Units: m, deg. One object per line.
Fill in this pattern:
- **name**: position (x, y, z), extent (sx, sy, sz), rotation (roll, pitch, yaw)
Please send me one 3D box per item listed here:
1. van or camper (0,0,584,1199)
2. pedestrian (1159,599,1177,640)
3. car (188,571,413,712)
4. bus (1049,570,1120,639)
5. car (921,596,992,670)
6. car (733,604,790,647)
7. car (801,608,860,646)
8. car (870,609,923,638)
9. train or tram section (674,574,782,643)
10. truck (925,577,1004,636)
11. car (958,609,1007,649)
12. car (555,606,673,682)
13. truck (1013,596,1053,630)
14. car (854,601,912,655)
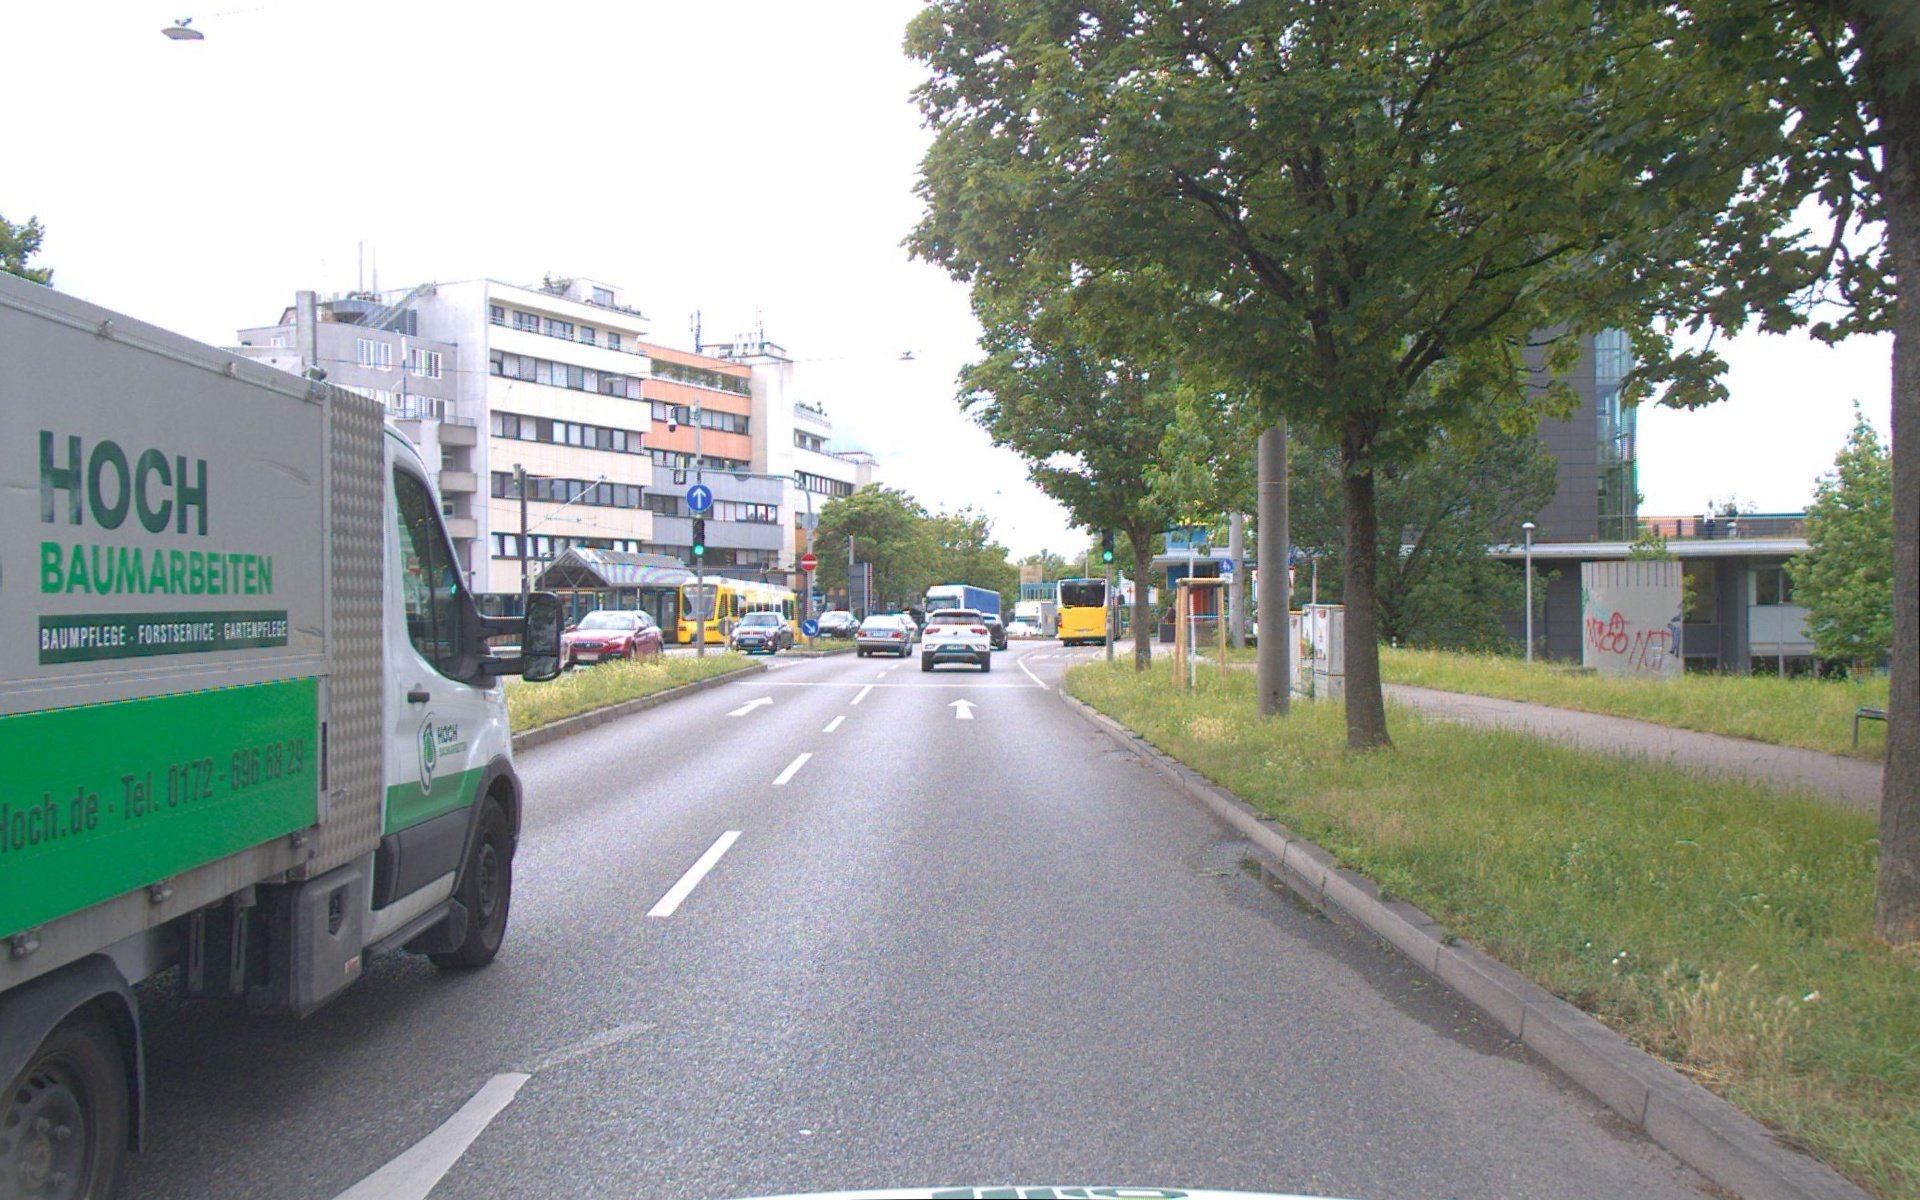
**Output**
- **van or camper**: position (-2.847, 0.214, 4.799), extent (2.296, 2.708, 5.963), rotation (1, 1, -2)
- **pedestrian**: position (9.320, 0.879, 74.213), extent (0.695, 1.847, 0.764), rotation (0, -1, -2)
- **car**: position (-11.224, 0.619, 28.562), extent (1.953, 2.048, 4.835), rotation (1, 2, 0)
- **bus**: position (6.307, 0.214, 82.304), extent (2.891, 3.246, 9.936), rotation (0, 0, 8)
- **car**: position (-0.054, 0.819, 42.937), extent (1.665, 1.575, 3.738), rotation (3, 3, 1)
- **car**: position (-6.934, 0.900, 58.012), extent (1.581, 1.471, 3.652), rotation (-1, -1, 0)
- **car**: position (-5.821, 1.205, 74.615), extent (1.857, 1.646, 4.278), rotation (-1, -1, 6)
- **car**: position (-3.339, 1.220, 87.828), extent (1.923, 1.525, 4.779), rotation (0, 0, 9)
- **train or tram section**: position (-12.562, 0.514, 91.022), extent (2.505, 3.470, 13.091), rotation (-1, -1, 7)
- **truck**: position (0.506, 0.481, 125.877), extent (2.891, 4.151, 16.616), rotation (0, 0, 11)
- **car**: position (0.979, 1.195, 70.029), extent (1.663, 1.542, 3.497), rotation (0, 1, 8)
- **car**: position (-8.583, 1.053, 41.434), extent (1.953, 1.618, 4.834), rotation (1, 1, 0)
- **truck**: position (6.822, 1.176, 152.995), extent (3.017, 3.081, 9.364), rotation (0, 0, 7)
- **car**: position (-2.582, 0.920, 56.282), extent (1.664, 1.542, 3.738), rotation (0, 3, 2)
